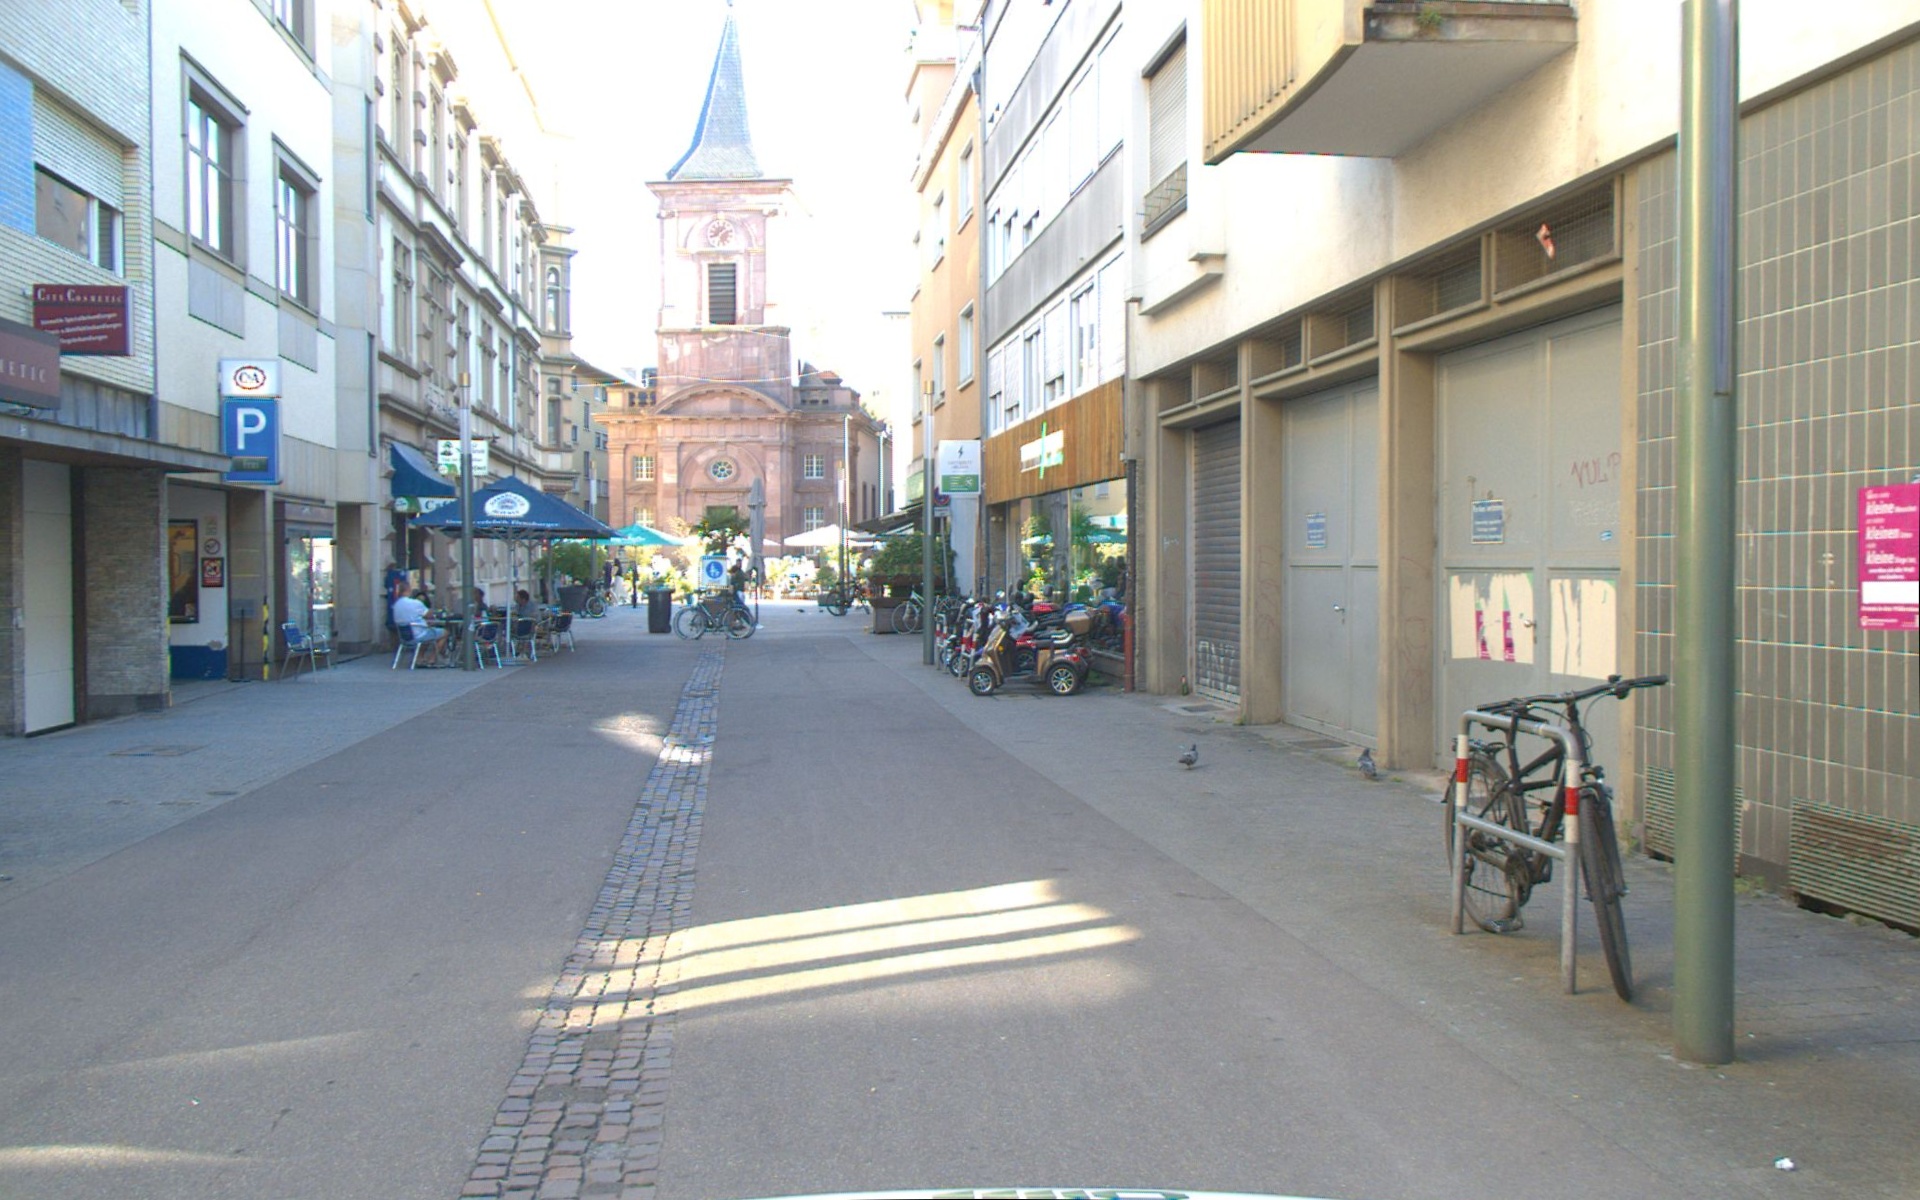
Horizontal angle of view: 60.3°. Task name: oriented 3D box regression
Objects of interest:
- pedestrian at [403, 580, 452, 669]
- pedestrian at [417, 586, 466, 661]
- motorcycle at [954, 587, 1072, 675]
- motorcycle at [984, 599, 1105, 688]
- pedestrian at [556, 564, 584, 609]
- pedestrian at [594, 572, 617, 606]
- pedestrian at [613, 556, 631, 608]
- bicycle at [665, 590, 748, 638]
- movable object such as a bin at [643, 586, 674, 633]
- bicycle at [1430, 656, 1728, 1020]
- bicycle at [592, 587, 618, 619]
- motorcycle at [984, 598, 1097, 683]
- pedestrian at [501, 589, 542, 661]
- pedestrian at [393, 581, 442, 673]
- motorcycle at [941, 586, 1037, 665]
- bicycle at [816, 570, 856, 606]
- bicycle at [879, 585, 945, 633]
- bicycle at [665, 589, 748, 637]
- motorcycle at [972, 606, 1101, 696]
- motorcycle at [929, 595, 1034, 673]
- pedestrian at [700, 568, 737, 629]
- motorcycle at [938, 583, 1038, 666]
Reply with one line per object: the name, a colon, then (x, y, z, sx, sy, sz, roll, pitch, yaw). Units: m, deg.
pedestrian: (-8.557, 0.377, 26.582, 0.707, 1.392, 0.706, -1, 1, -20)
pedestrian: (-8.889, 0.393, 28.387, 0.752, 1.254, 0.828, -1, 1, -16)
motorcycle: (0.757, 0.436, 23.315, 1.590, 1.195, 0.481, -1, 1, 10)
motorcycle: (1.078, 0.554, 21.098, 1.484, 1.094, 0.412, -1, 1, 10)
pedestrian: (-13.661, -0.471, 57.995, 0.767, 1.582, 0.535, 0, 1, 20)
pedestrian: (-13.303, -0.414, 62.086, 0.686, 1.239, 0.719, -1, 1, -2)
pedestrian: (-12.101, -0.648, 59.185, 0.604, 1.840, 0.613, 0, 1, -12)
bicycle: (-5.585, 0.309, 36.510, 1.791, 1.022, 0.380, -1, 1, -12)
movable object such as a bin: (-7.202, 0.224, 39.528, 0.708, 1.093, 0.373, -1, 1, -10)
bicycle: (2.317, 0.826, 6.399, 0.437, 1.160, 1.709, 0, 0, -3)
bicycle: (-10.321, 0.077, 48.174, 0.447, 0.864, 2.145, -1, 1, -4)
motorcycle: (1.078, 0.542, 22.063, 1.452, 1.094, 0.412, -1, 1, 10)
pedestrian: (-7.729, 0.433, 29.135, 0.681, 1.236, 0.581, -1, 1, -16)
pedestrian: (-8.392, 0.406, 25.578, 0.697, 1.392, 0.716, -1, 1, -20)
motorcycle: (0.454, 0.390, 25.944, 1.452, 1.202, 0.412, -1, 1, 7)
bicycle: (-4.691, -0.466, 62.634, 1.574, 1.330, 0.361, -1, 1, -37)
bicycle: (-1.061, 0.199, 36.611, 1.433, 1.022, 0.573, -1, 1, -1)
bicycle: (-5.656, 0.287, 36.911, 1.791, 1.022, 0.380, -1, 1, -12)
motorcycle: (0.938, 0.626, 20.286, 1.530, 1.060, 0.373, -1, 1, 10)
motorcycle: (0.316, 0.489, 24.045, 1.452, 1.094, 0.412, -1, 1, 10)
pedestrian: (-5.975, -0.043, 41.000, 0.867, 1.489, 0.730, -1, 1, -8)
motorcycle: (0.425, 0.368, 24.876, 1.452, 1.202, 0.412, -1, 1, 7)
